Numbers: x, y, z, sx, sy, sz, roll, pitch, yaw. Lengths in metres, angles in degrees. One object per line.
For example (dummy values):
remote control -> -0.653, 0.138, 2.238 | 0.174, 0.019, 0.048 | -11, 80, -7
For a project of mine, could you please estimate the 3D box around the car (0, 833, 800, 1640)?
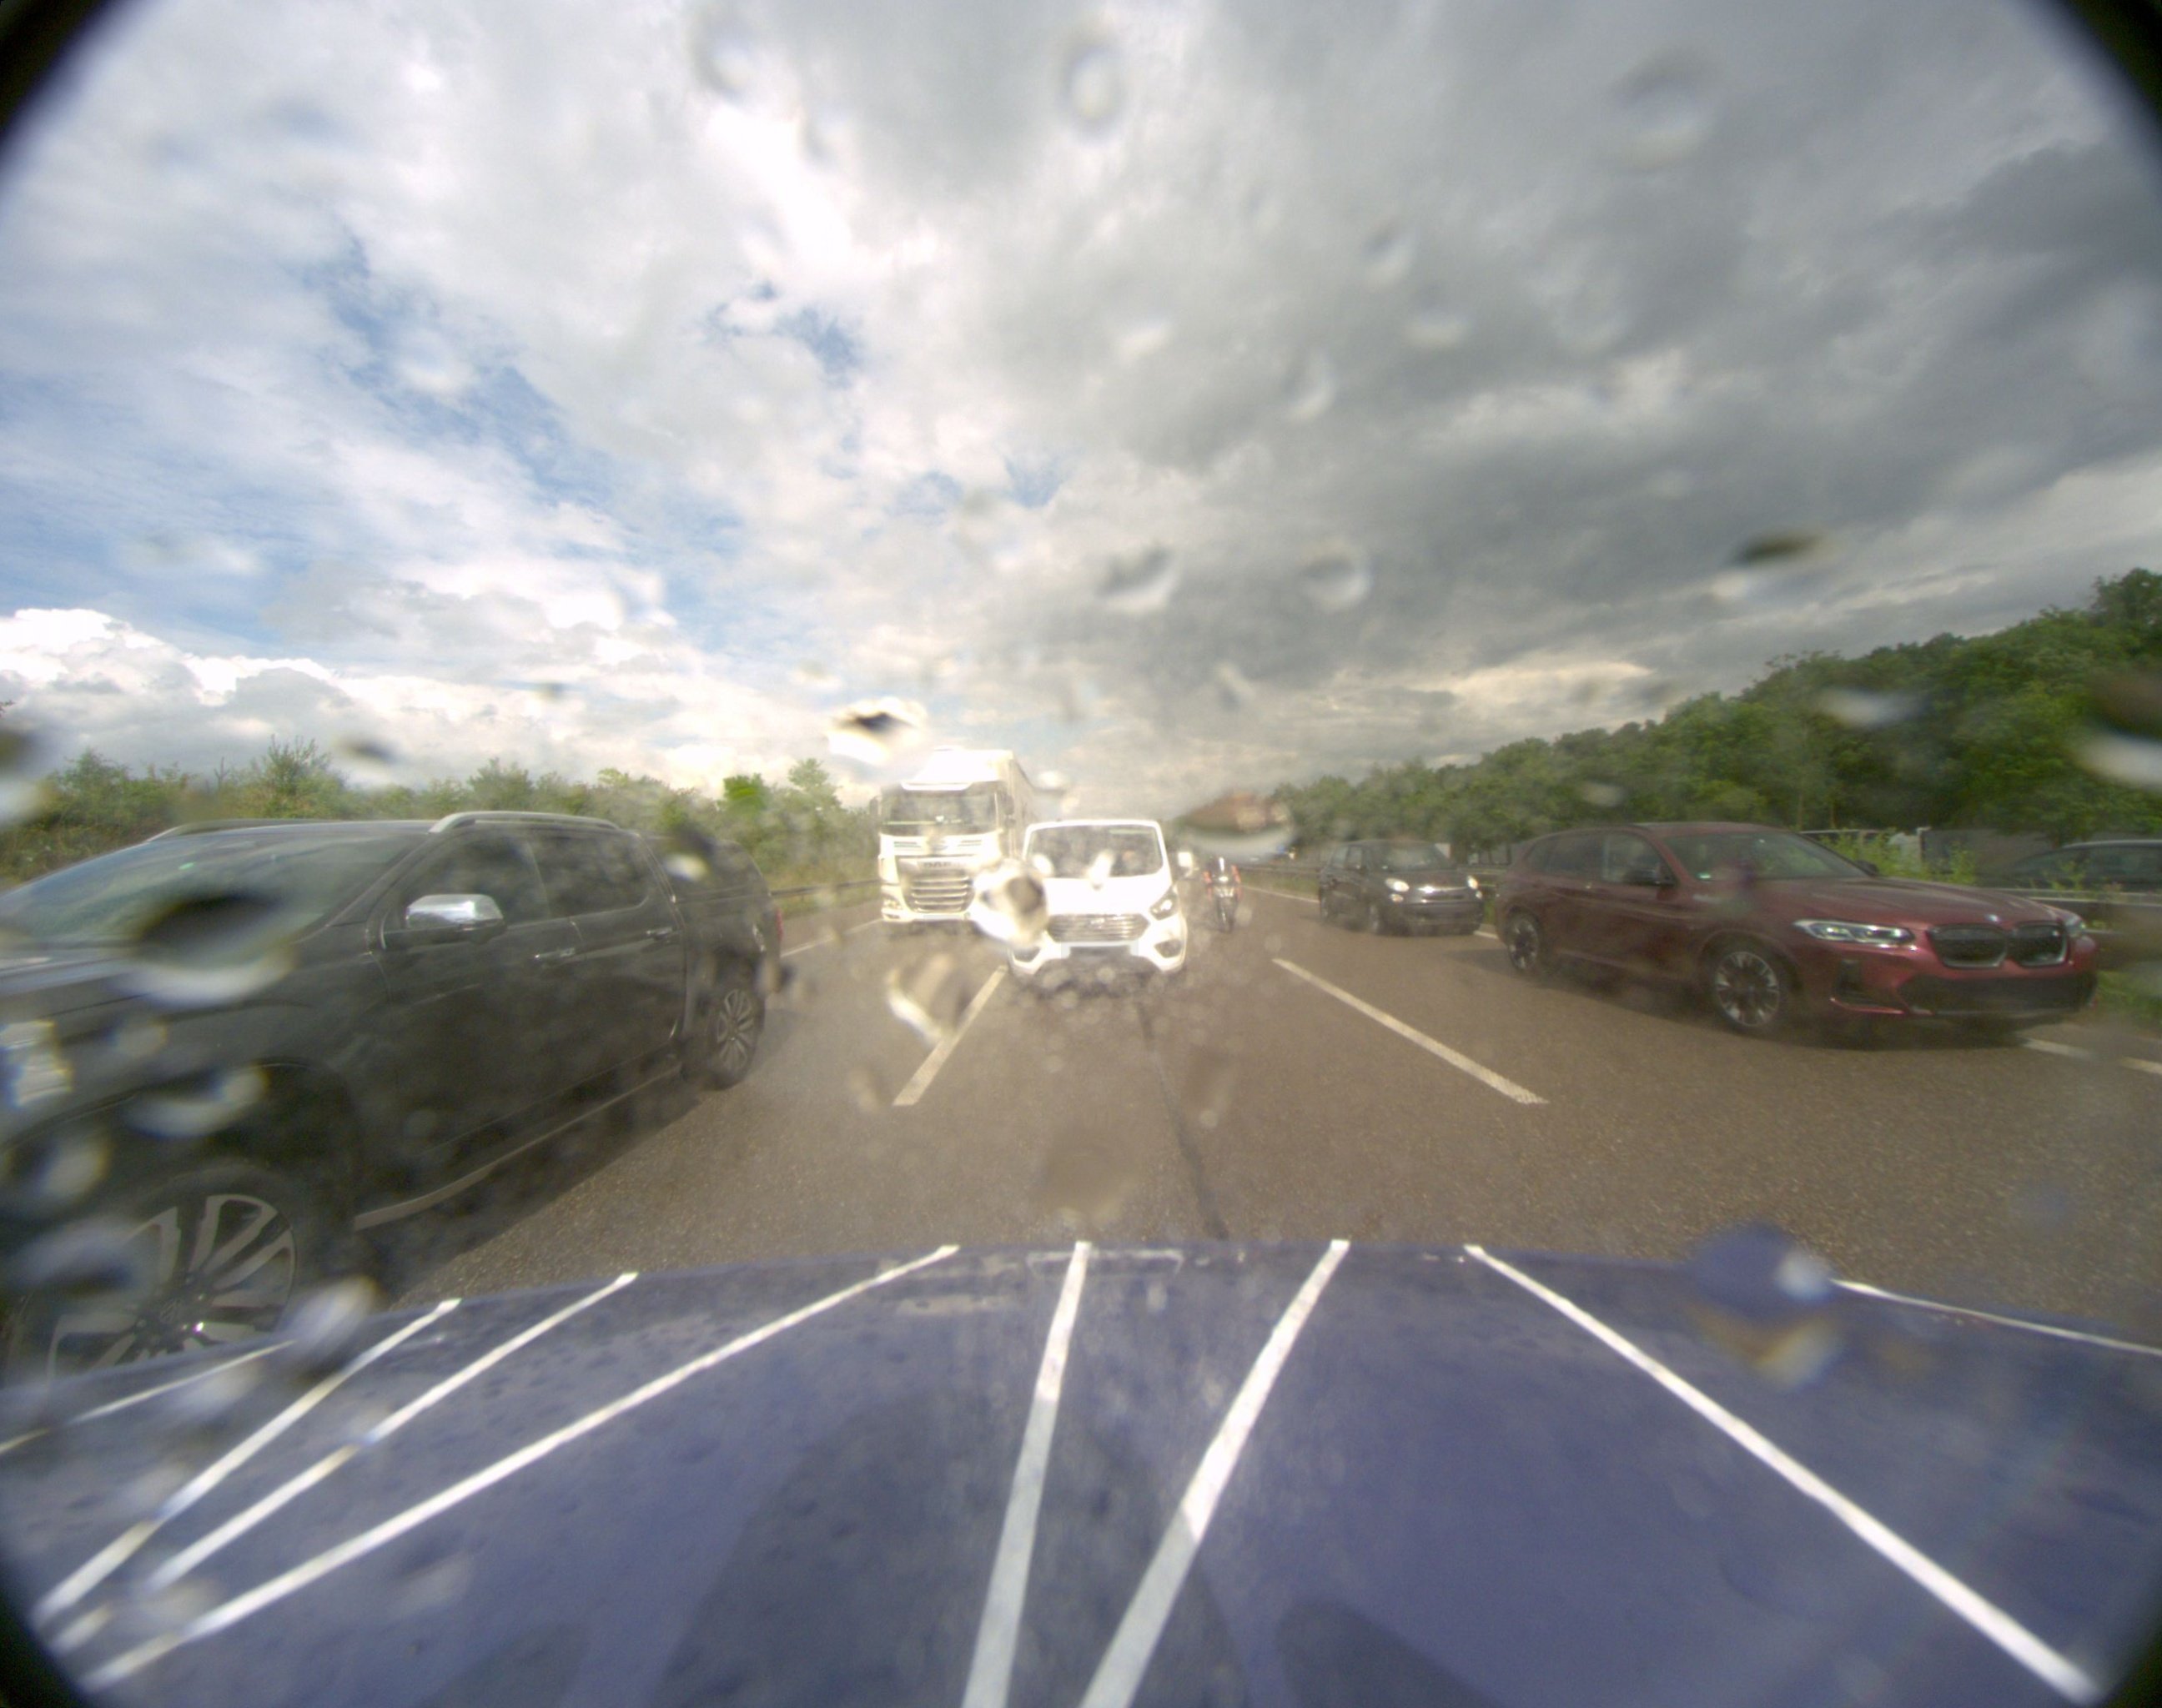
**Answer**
car -> -3.312, 0.864, 3.657 | 1.831, 1.793, 5.305 | -2, 0, 1

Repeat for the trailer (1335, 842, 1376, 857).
trailer -> 50.635, -0.806, 140.509 | 2.537, 2.559, 9.870 | -2, 1, -10

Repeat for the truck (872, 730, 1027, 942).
truck -> -2.772, -0.347, 17.602 | 2.460, 4.080, 5.332 | -2, 0, 1

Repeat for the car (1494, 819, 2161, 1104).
car -> 5.747, 0.630, 6.693 | 1.895, 1.660, 4.294 | -2, 0, 0

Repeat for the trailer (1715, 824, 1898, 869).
trailer -> 57.053, -0.576, 60.580 | 2.611, 3.252, 12.647 | 0, 0, 1

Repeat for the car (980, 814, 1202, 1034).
car -> 0.123, 0.644, 9.625 | 1.985, 1.973, 5.168 | -2, 0, 1

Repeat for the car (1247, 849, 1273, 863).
car -> 18.573, 0.207, 78.902 | 1.806, 1.444, 3.782 | -1, 0, 0

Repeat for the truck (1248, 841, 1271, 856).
truck -> 41.863, -1.194, 177.915 | 2.700, 3.462, 6.332 | 0, 0, -13

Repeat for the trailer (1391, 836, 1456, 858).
trailer -> 53.899, -1.114, 120.101 | 3.085, 3.252, 13.401 | 0, 0, -6

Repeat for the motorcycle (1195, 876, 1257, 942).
motorcycle -> 2.713, 1.006, 14.422 | 0.677, 1.080, 1.981 | -2, 0, -2

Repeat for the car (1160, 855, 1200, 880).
car -> 5.489, 0.738, 42.525 | 1.675, 1.228, 4.000 | -2, 0, 0

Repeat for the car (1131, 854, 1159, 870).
car -> 5.224, 0.645, 62.313 | 1.888, 1.228, 4.506 | -2, 0, 0

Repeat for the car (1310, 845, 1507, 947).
car -> 5.777, 0.649, 14.000 | 1.895, 1.557, 4.053 | -2, 0, 1

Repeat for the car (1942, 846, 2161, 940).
car -> 17.983, 0.608, 13.003 | 1.998, 1.444, 4.000 | -1, 0, 1

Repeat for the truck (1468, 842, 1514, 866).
truck -> 55.468, -0.026, 102.900 | 3.182, 3.237, 5.390 | 0, 1, -1

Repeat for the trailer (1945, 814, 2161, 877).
trailer -> 56.173, -0.446, 42.136 | 3.026, 3.174, 12.176 | 0, 0, 3

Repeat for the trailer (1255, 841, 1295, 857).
trailer -> 43.514, -1.166, 170.956 | 2.707, 3.492, 13.404 | 0, 0, -13

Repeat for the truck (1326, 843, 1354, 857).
truck -> 49.635, -0.832, 145.813 | 2.522, 2.556, 5.982 | -2, 1, -10

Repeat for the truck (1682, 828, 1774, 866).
truck -> 57.137, -0.624, 67.351 | 2.582, 3.232, 6.535 | 0, 1, 1

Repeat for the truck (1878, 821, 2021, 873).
truck -> 56.534, -0.440, 49.685 | 3.049, 3.165, 5.598 | 0, 0, 3

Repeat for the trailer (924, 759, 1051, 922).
trailer -> -2.654, -0.406, 25.628 | 2.451, 4.095, 12.215 | -2, 1, 1

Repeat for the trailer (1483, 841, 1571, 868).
trailer -> 55.682, 0.022, 95.455 | 3.193, 3.252, 12.645 | 0, 0, -2

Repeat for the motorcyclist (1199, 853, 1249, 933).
motorcyclist -> 2.700, 0.708, 14.417 | 0.672, 1.433, 1.019 | -2, 1, -2

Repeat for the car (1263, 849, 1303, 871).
car -> 14.558, 0.408, 54.940 | 1.806, 1.444, 4.000 | -1, 0, 1
